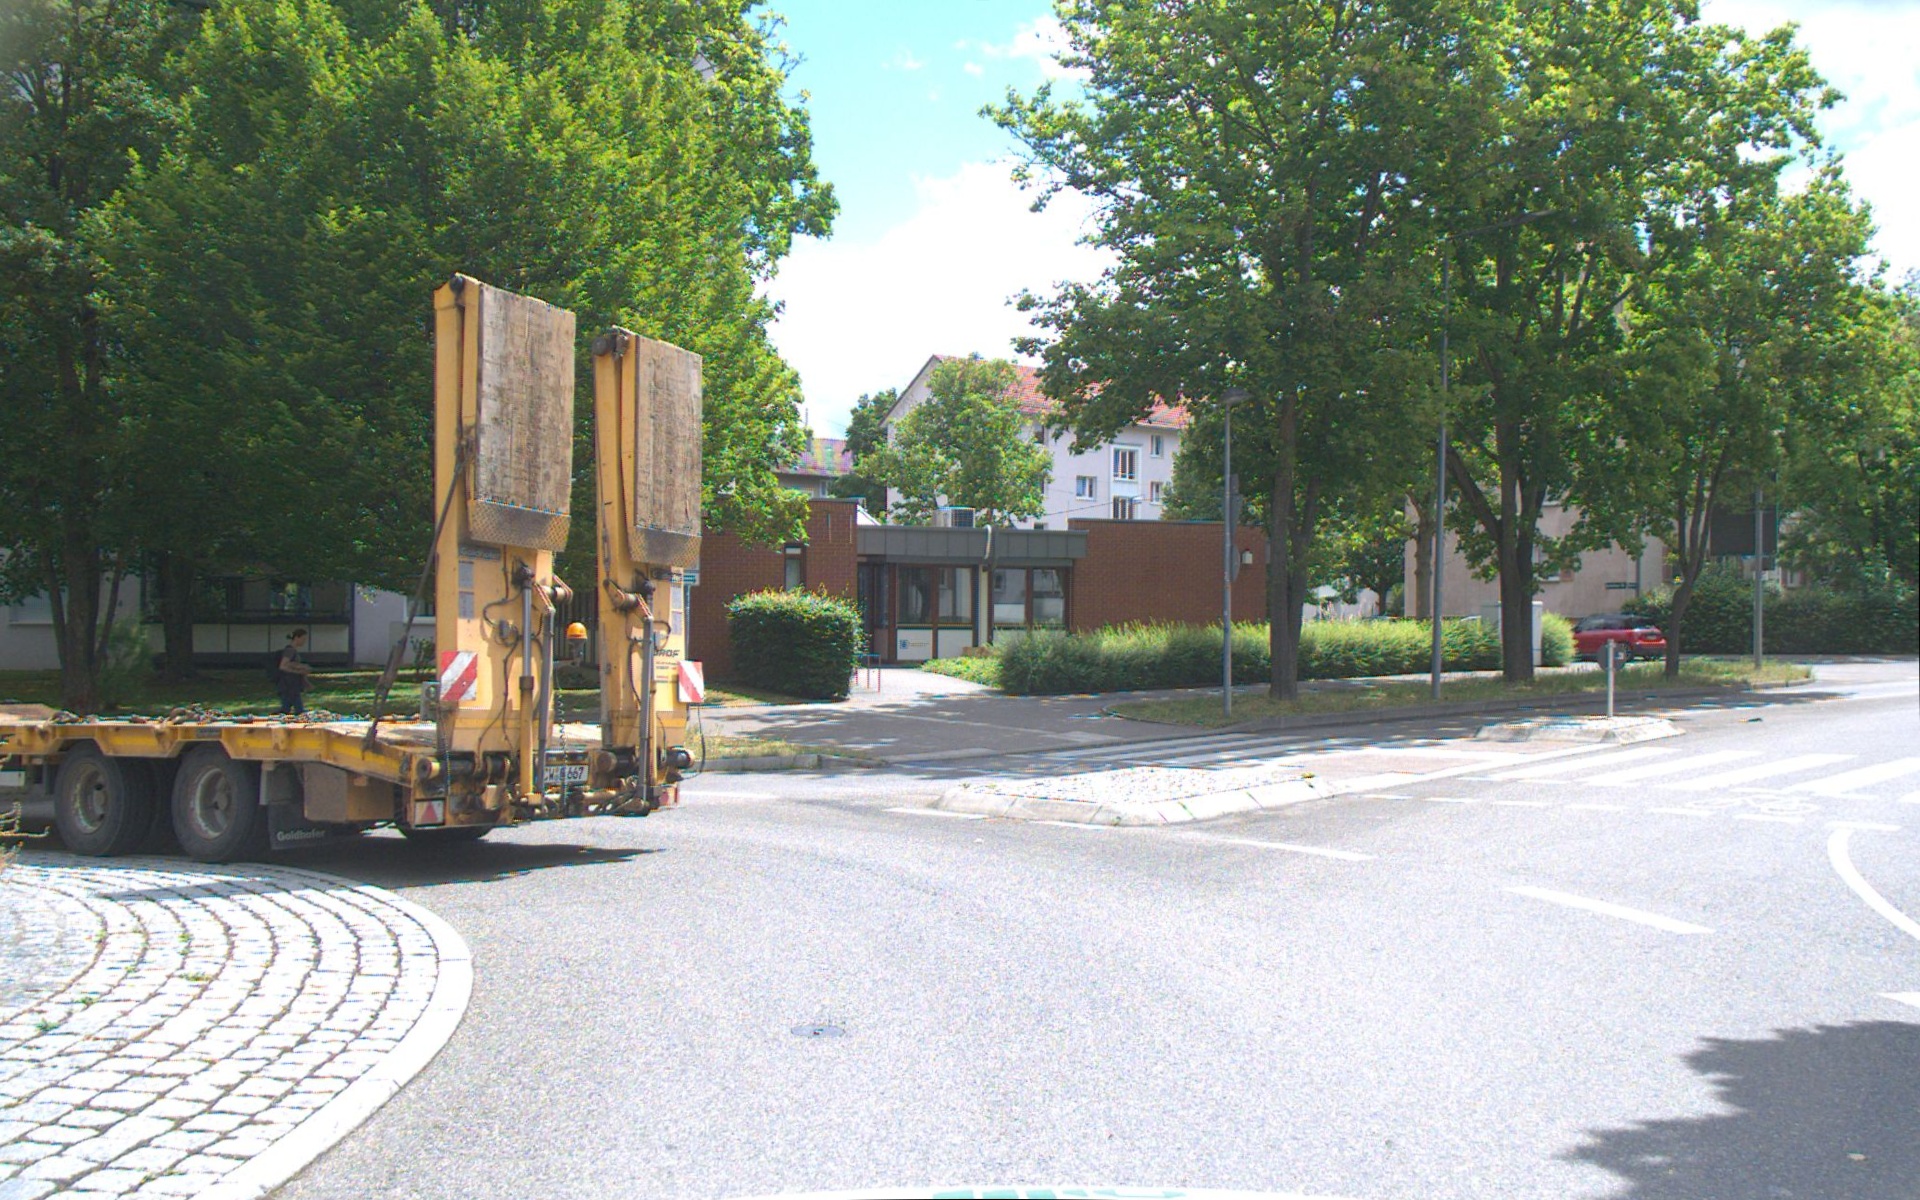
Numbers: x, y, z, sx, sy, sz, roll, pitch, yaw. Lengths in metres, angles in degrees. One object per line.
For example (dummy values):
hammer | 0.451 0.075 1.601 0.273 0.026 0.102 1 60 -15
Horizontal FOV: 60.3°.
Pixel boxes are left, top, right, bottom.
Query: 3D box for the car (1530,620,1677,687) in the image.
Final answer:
car | 20.489 1.668 52.765 1.996 1.975 3.949 2 -1 -36

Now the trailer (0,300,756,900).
trailer | -6.826 -0.136 13.296 10.602 3.431 2.868 2 0 29

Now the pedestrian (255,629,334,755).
pedestrian | -9.015 1.228 22.400 0.830 1.606 0.713 -3 1 -31
